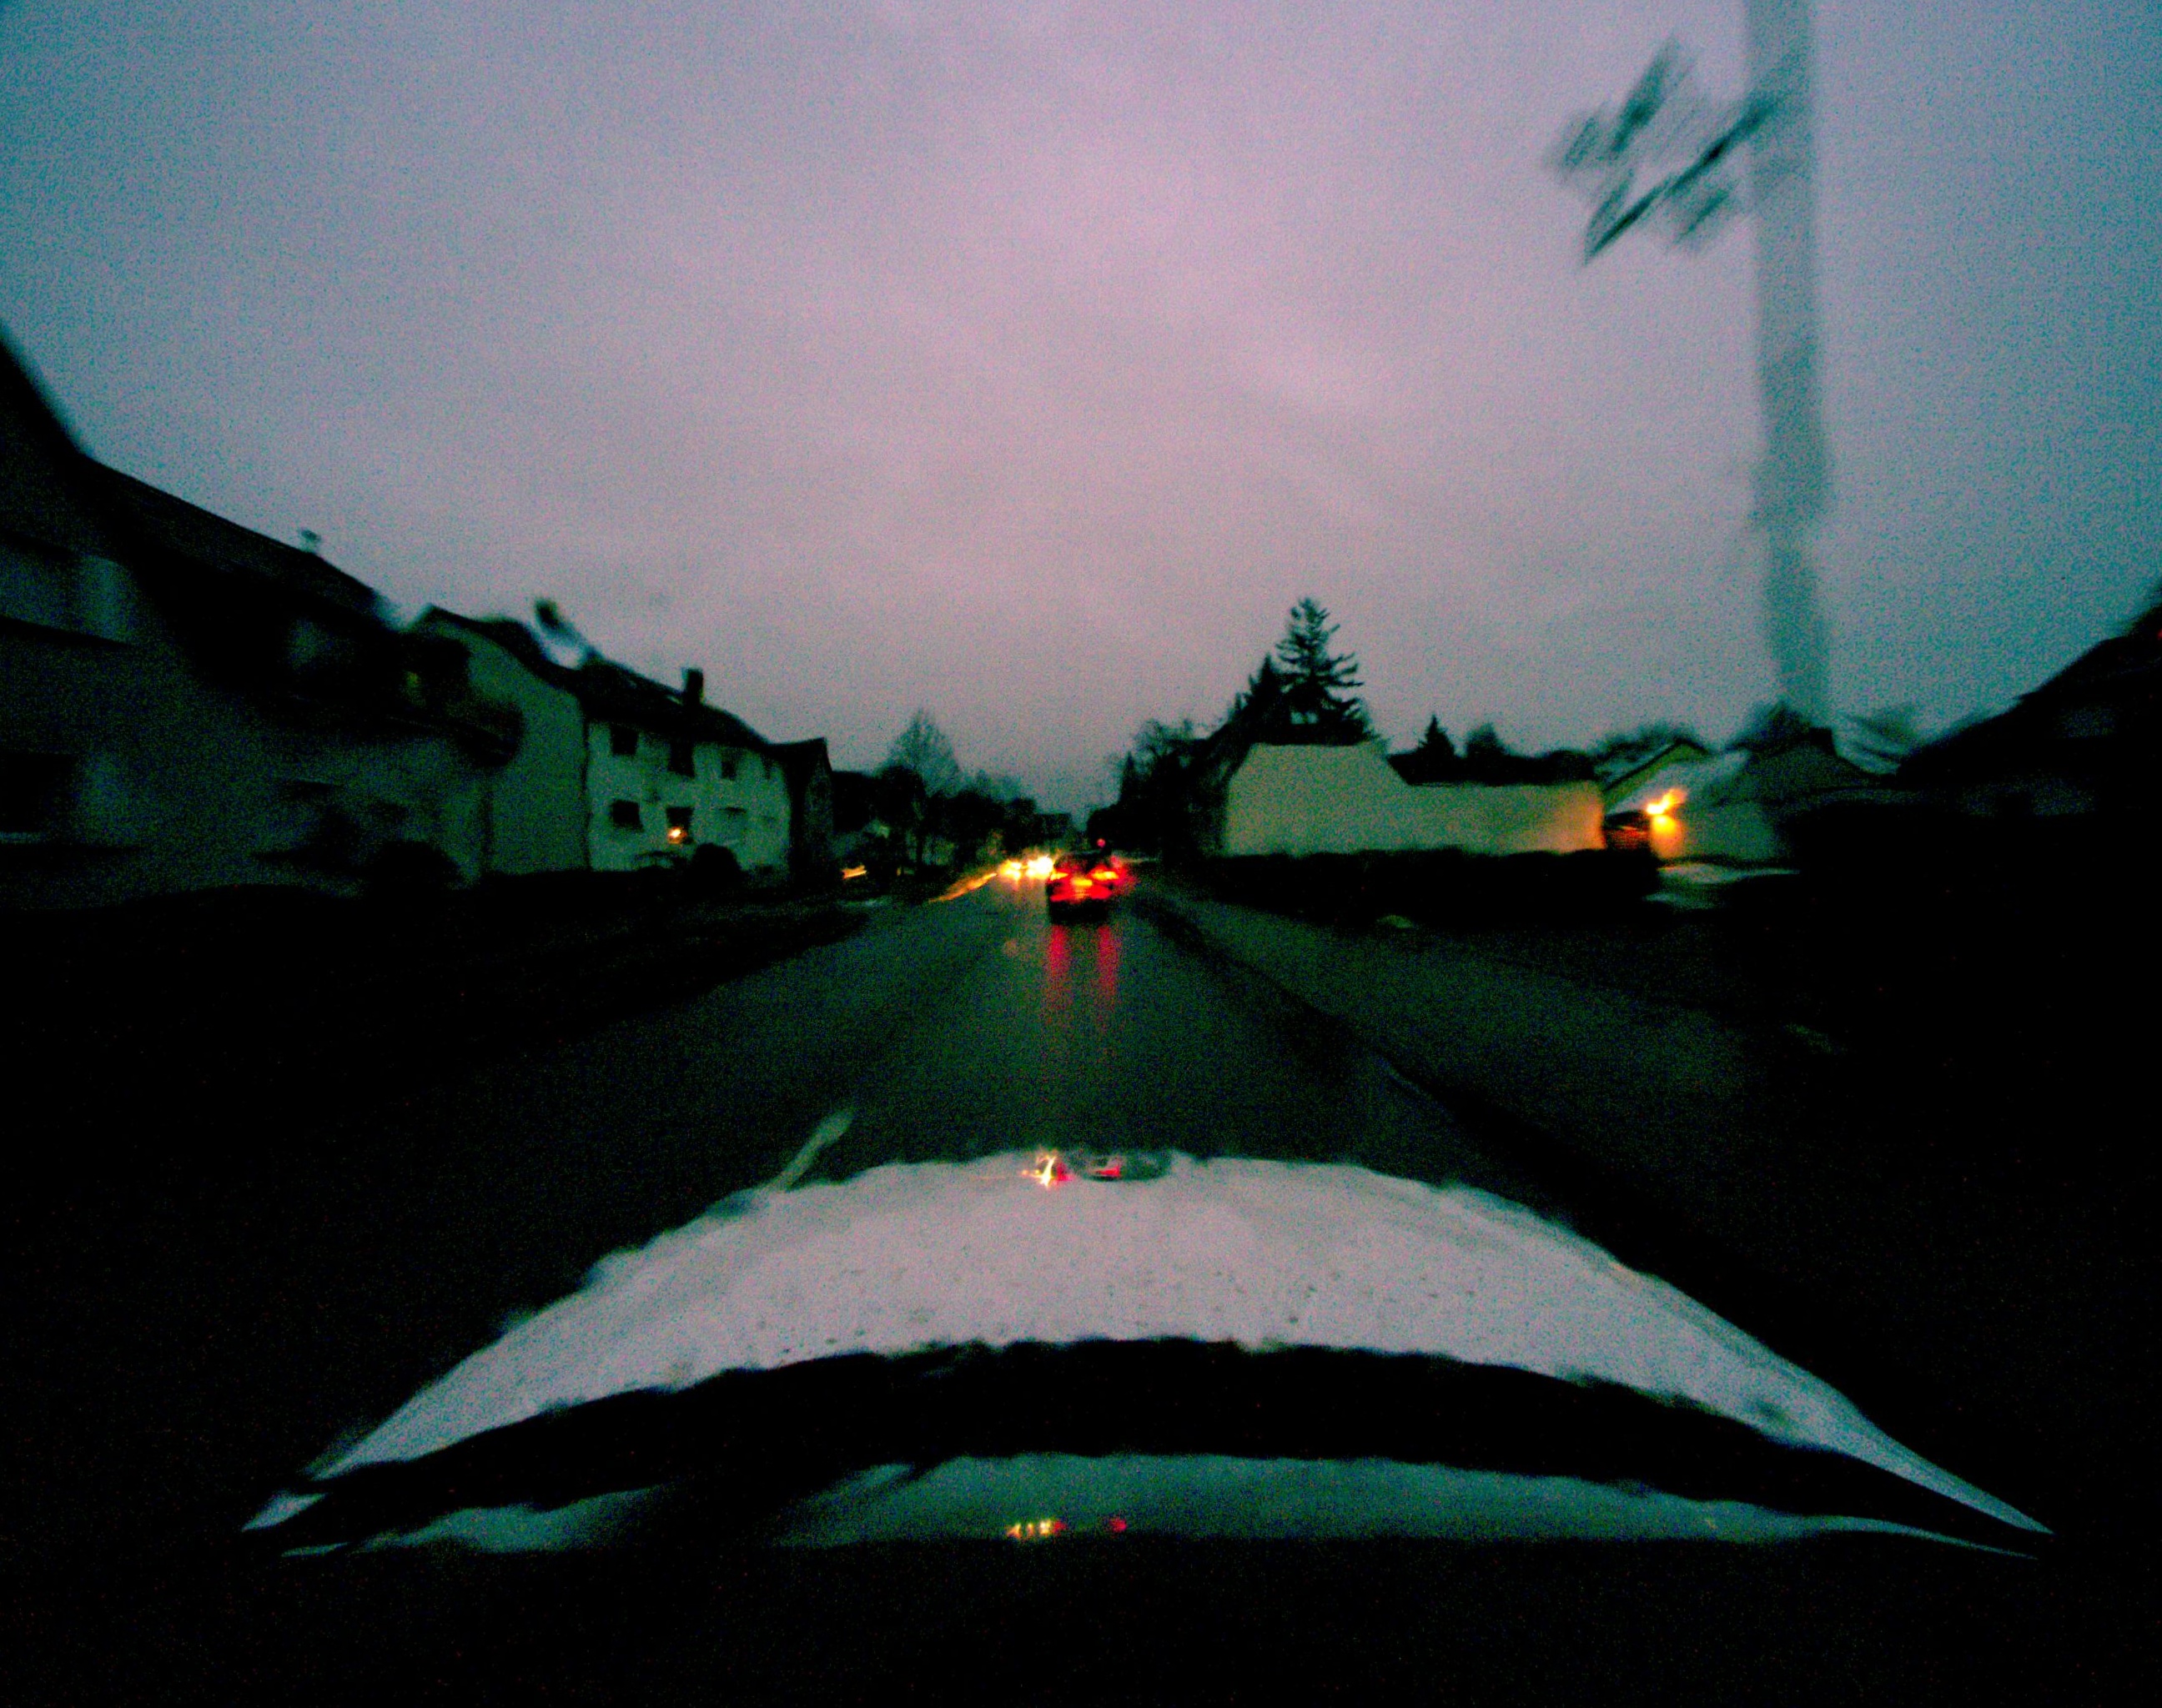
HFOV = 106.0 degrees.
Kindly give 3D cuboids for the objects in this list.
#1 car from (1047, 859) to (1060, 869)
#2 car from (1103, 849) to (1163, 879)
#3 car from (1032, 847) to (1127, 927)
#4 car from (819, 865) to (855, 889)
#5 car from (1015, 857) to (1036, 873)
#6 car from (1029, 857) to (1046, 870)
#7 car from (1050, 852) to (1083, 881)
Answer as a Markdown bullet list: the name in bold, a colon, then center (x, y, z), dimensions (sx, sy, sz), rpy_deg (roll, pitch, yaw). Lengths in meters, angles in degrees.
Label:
- **car**: center (-3.996, 1.462, 119.775), dimensions (1.837, 1.331, 3.935), rpy_deg (-2, 0, -1)
- **car**: center (3.754, 0.728, 58.891), dimensions (4.230, 2.013, 1.811), rpy_deg (-2, 0, 2)
- **car**: center (-0.176, 0.856, 22.890), dimensions (2.305, 1.938, 5.011), rpy_deg (-2, -1, -4)
- **car**: center (-14.827, 1.386, 49.713), dimensions (1.779, 1.393, 3.983), rpy_deg (1, -1, -12)
- **car**: center (-6.019, 1.152, 88.481), dimensions (1.907, 1.522, 4.000), rpy_deg (-2, 1, 0)
- **car**: center (-5.511, 1.200, 103.212), dimensions (1.907, 1.431, 4.000), rpy_deg (-1, 2, 0)
- **car**: center (-0.903, 0.695, 48.380), dimensions (1.853, 1.647, 3.997), rpy_deg (-1, 0, -2)
